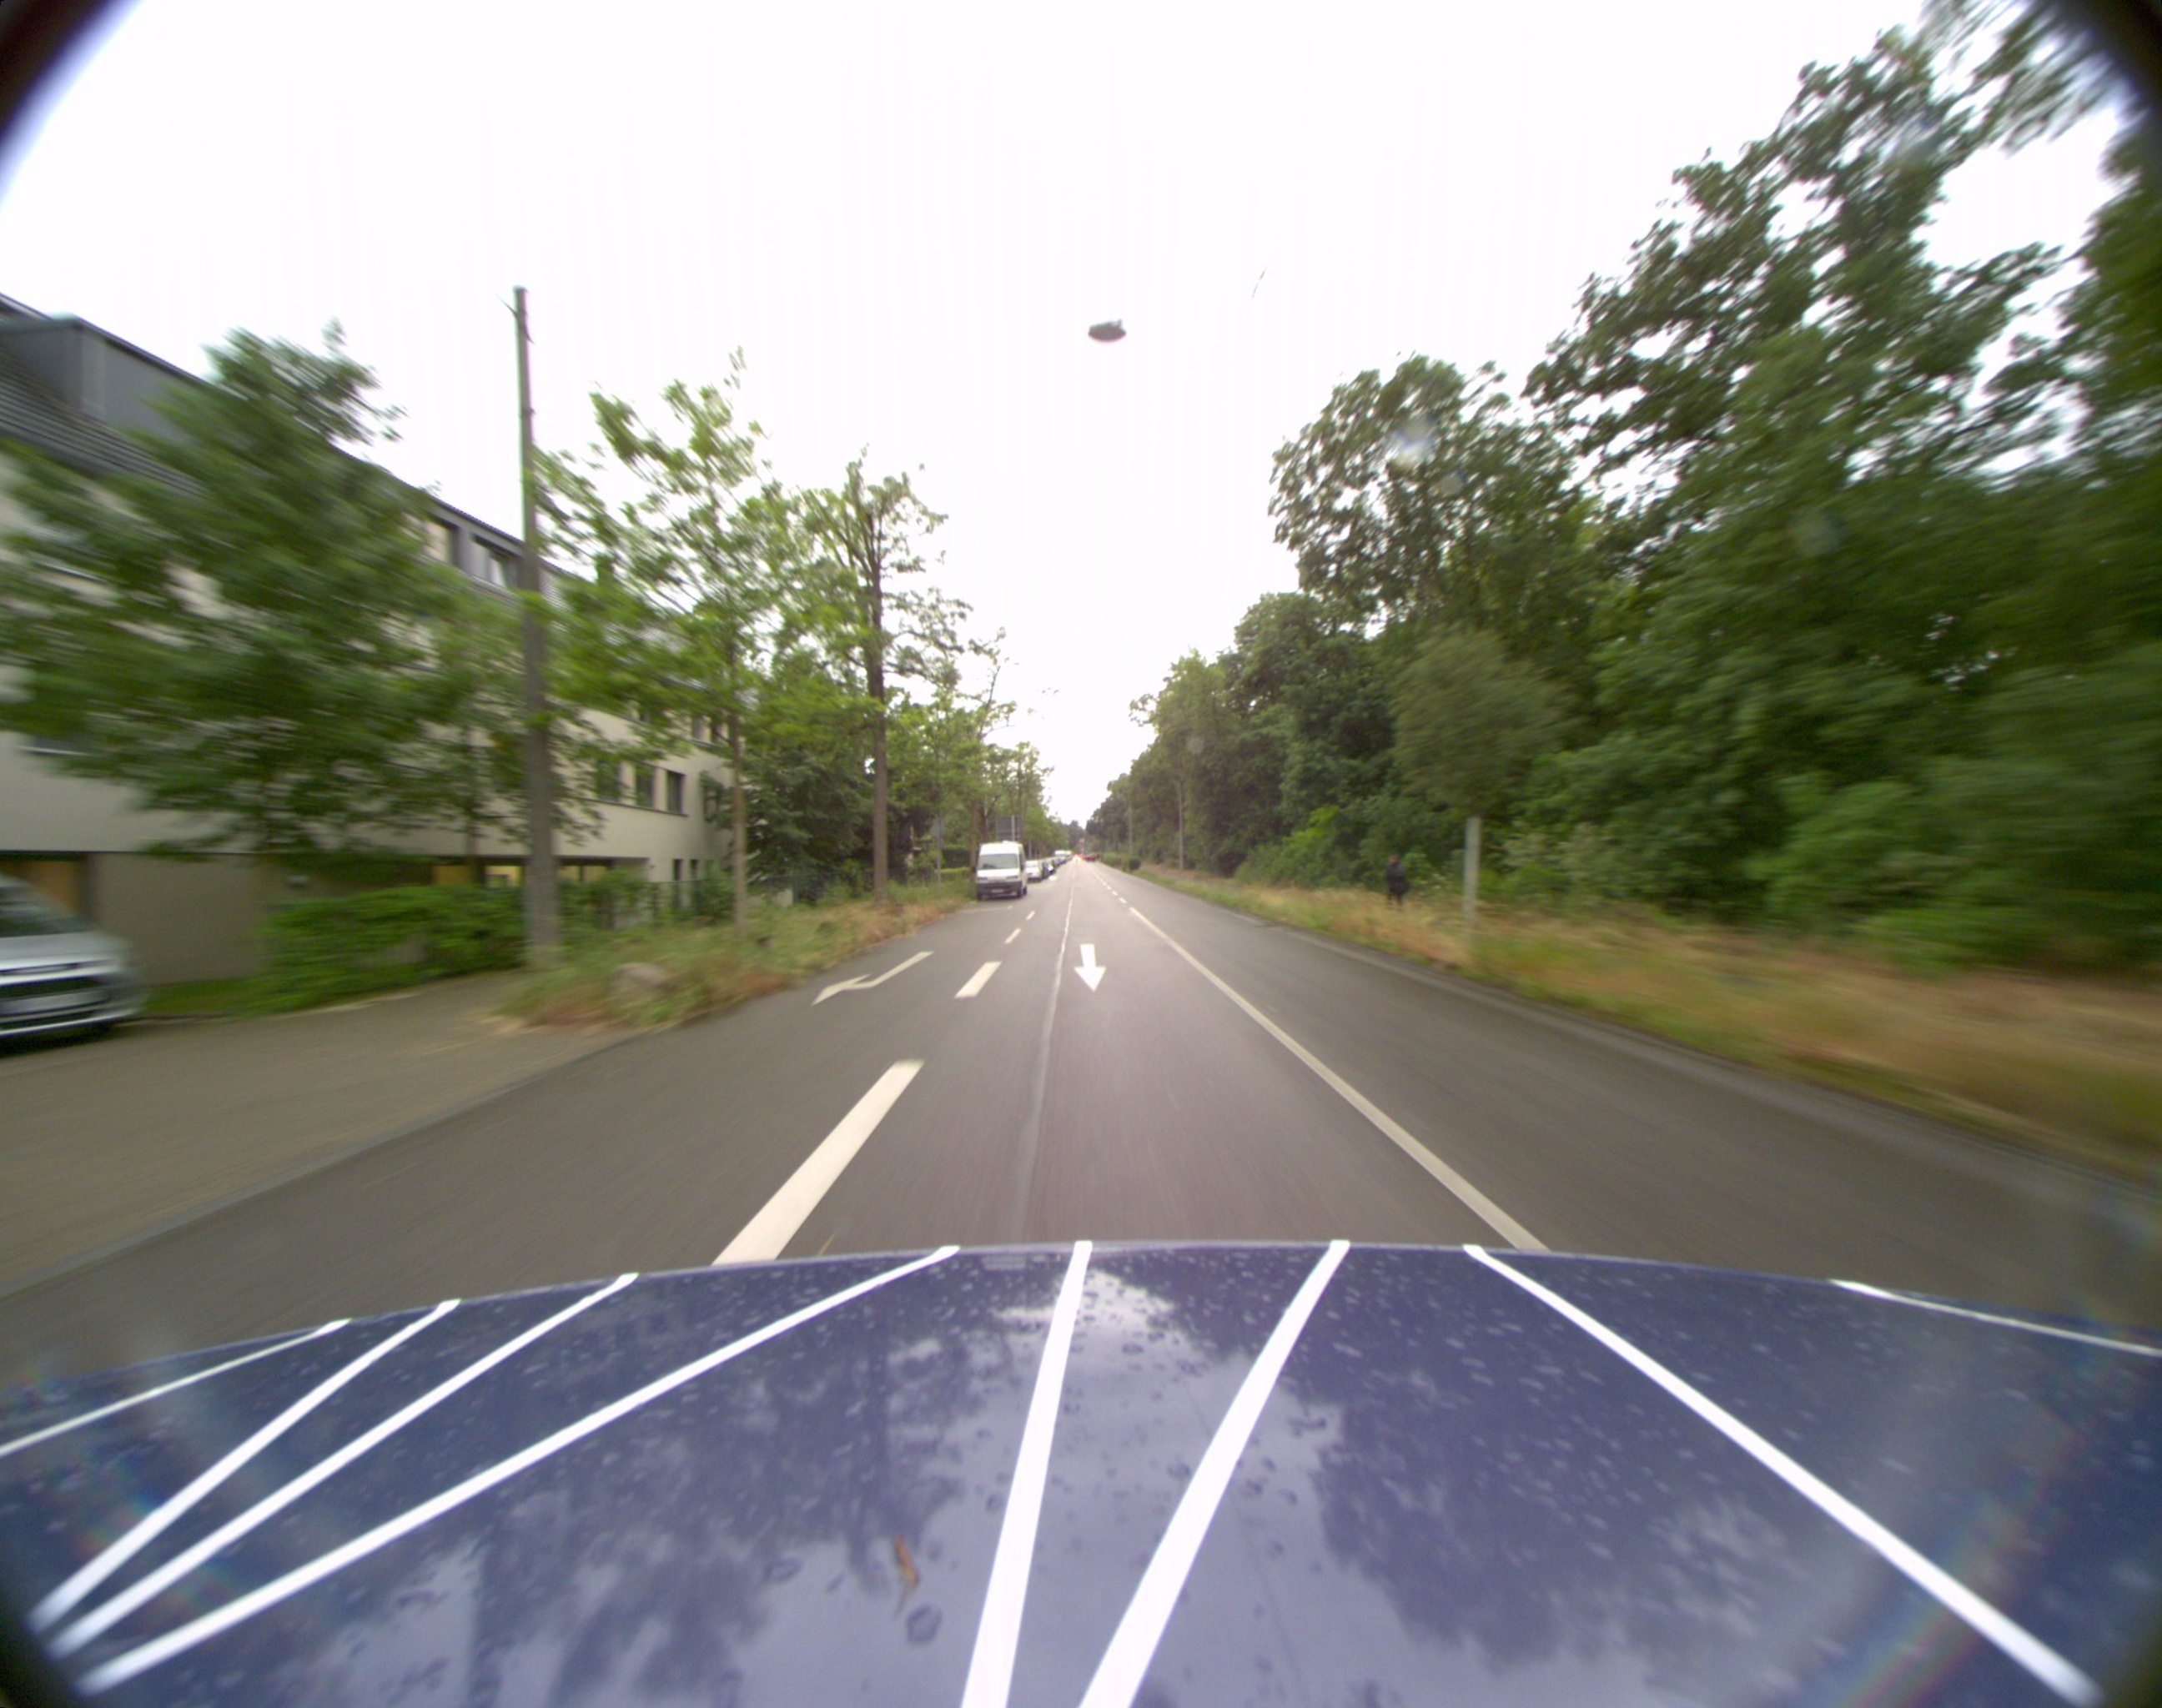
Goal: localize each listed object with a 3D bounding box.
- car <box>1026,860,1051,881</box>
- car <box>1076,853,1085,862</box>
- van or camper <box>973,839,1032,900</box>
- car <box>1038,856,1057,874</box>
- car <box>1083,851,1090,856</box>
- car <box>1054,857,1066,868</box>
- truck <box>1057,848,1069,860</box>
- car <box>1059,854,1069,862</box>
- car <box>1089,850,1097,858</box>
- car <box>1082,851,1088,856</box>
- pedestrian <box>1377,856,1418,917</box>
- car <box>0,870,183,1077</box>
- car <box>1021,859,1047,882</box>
[{"bbox_3d":[-3.307,1.309,60.187,1.621,1.462,3.944,-3,0,1],"label":"car"},{"bbox_3d":[-0.101,0.783,182.574,1.998,2.002,3.999,-2,1,2],"label":"car"},{"bbox_3d":[-3.509,0.640,35.015,2.042,2.465,5.638,-4,0,0],"label":"van or camper"},{"bbox_3d":[-3.139,1.009,71.424,1.621,1.459,4.409,-3,0,-1],"label":"car"},{"bbox_3d":[1.508,-0.108,203.760,1.851,1.490,3.999,0,0,-2],"label":"car"},{"bbox_3d":[-3.039,1.197,110.321,1.675,1.420,3.699,-2,0,0],"label":"car"},{"bbox_3d":[-3.422,-0.042,145.699,2.230,2.322,5.113,0,1,-1],"label":"truck"},{"bbox_3d":[-3.022,0.678,132.780,1.789,1.452,3.999,0,0,-2],"label":"car"},{"bbox_3d":[2.570,0.000,163.532,1.680,1.608,4.061,0,0,-1],"label":"car"},{"bbox_3d":[1.202,-0.282,234.920,1.999,1.543,3.999,0,0,-1],"label":"car"},{"bbox_3d":[8.588,0.875,20.614,0.783,1.598,0.732,-1,1,-1],"label":"pedestrian"},{"bbox_3d":[-11.712,1.165,7.405,4.312,1.807,1.876,-2,0,11],"label":"car"},{"bbox_3d":[-3.345,1.132,54.393,1.575,1.463,3.764,-3,0,0],"label":"car"}]
